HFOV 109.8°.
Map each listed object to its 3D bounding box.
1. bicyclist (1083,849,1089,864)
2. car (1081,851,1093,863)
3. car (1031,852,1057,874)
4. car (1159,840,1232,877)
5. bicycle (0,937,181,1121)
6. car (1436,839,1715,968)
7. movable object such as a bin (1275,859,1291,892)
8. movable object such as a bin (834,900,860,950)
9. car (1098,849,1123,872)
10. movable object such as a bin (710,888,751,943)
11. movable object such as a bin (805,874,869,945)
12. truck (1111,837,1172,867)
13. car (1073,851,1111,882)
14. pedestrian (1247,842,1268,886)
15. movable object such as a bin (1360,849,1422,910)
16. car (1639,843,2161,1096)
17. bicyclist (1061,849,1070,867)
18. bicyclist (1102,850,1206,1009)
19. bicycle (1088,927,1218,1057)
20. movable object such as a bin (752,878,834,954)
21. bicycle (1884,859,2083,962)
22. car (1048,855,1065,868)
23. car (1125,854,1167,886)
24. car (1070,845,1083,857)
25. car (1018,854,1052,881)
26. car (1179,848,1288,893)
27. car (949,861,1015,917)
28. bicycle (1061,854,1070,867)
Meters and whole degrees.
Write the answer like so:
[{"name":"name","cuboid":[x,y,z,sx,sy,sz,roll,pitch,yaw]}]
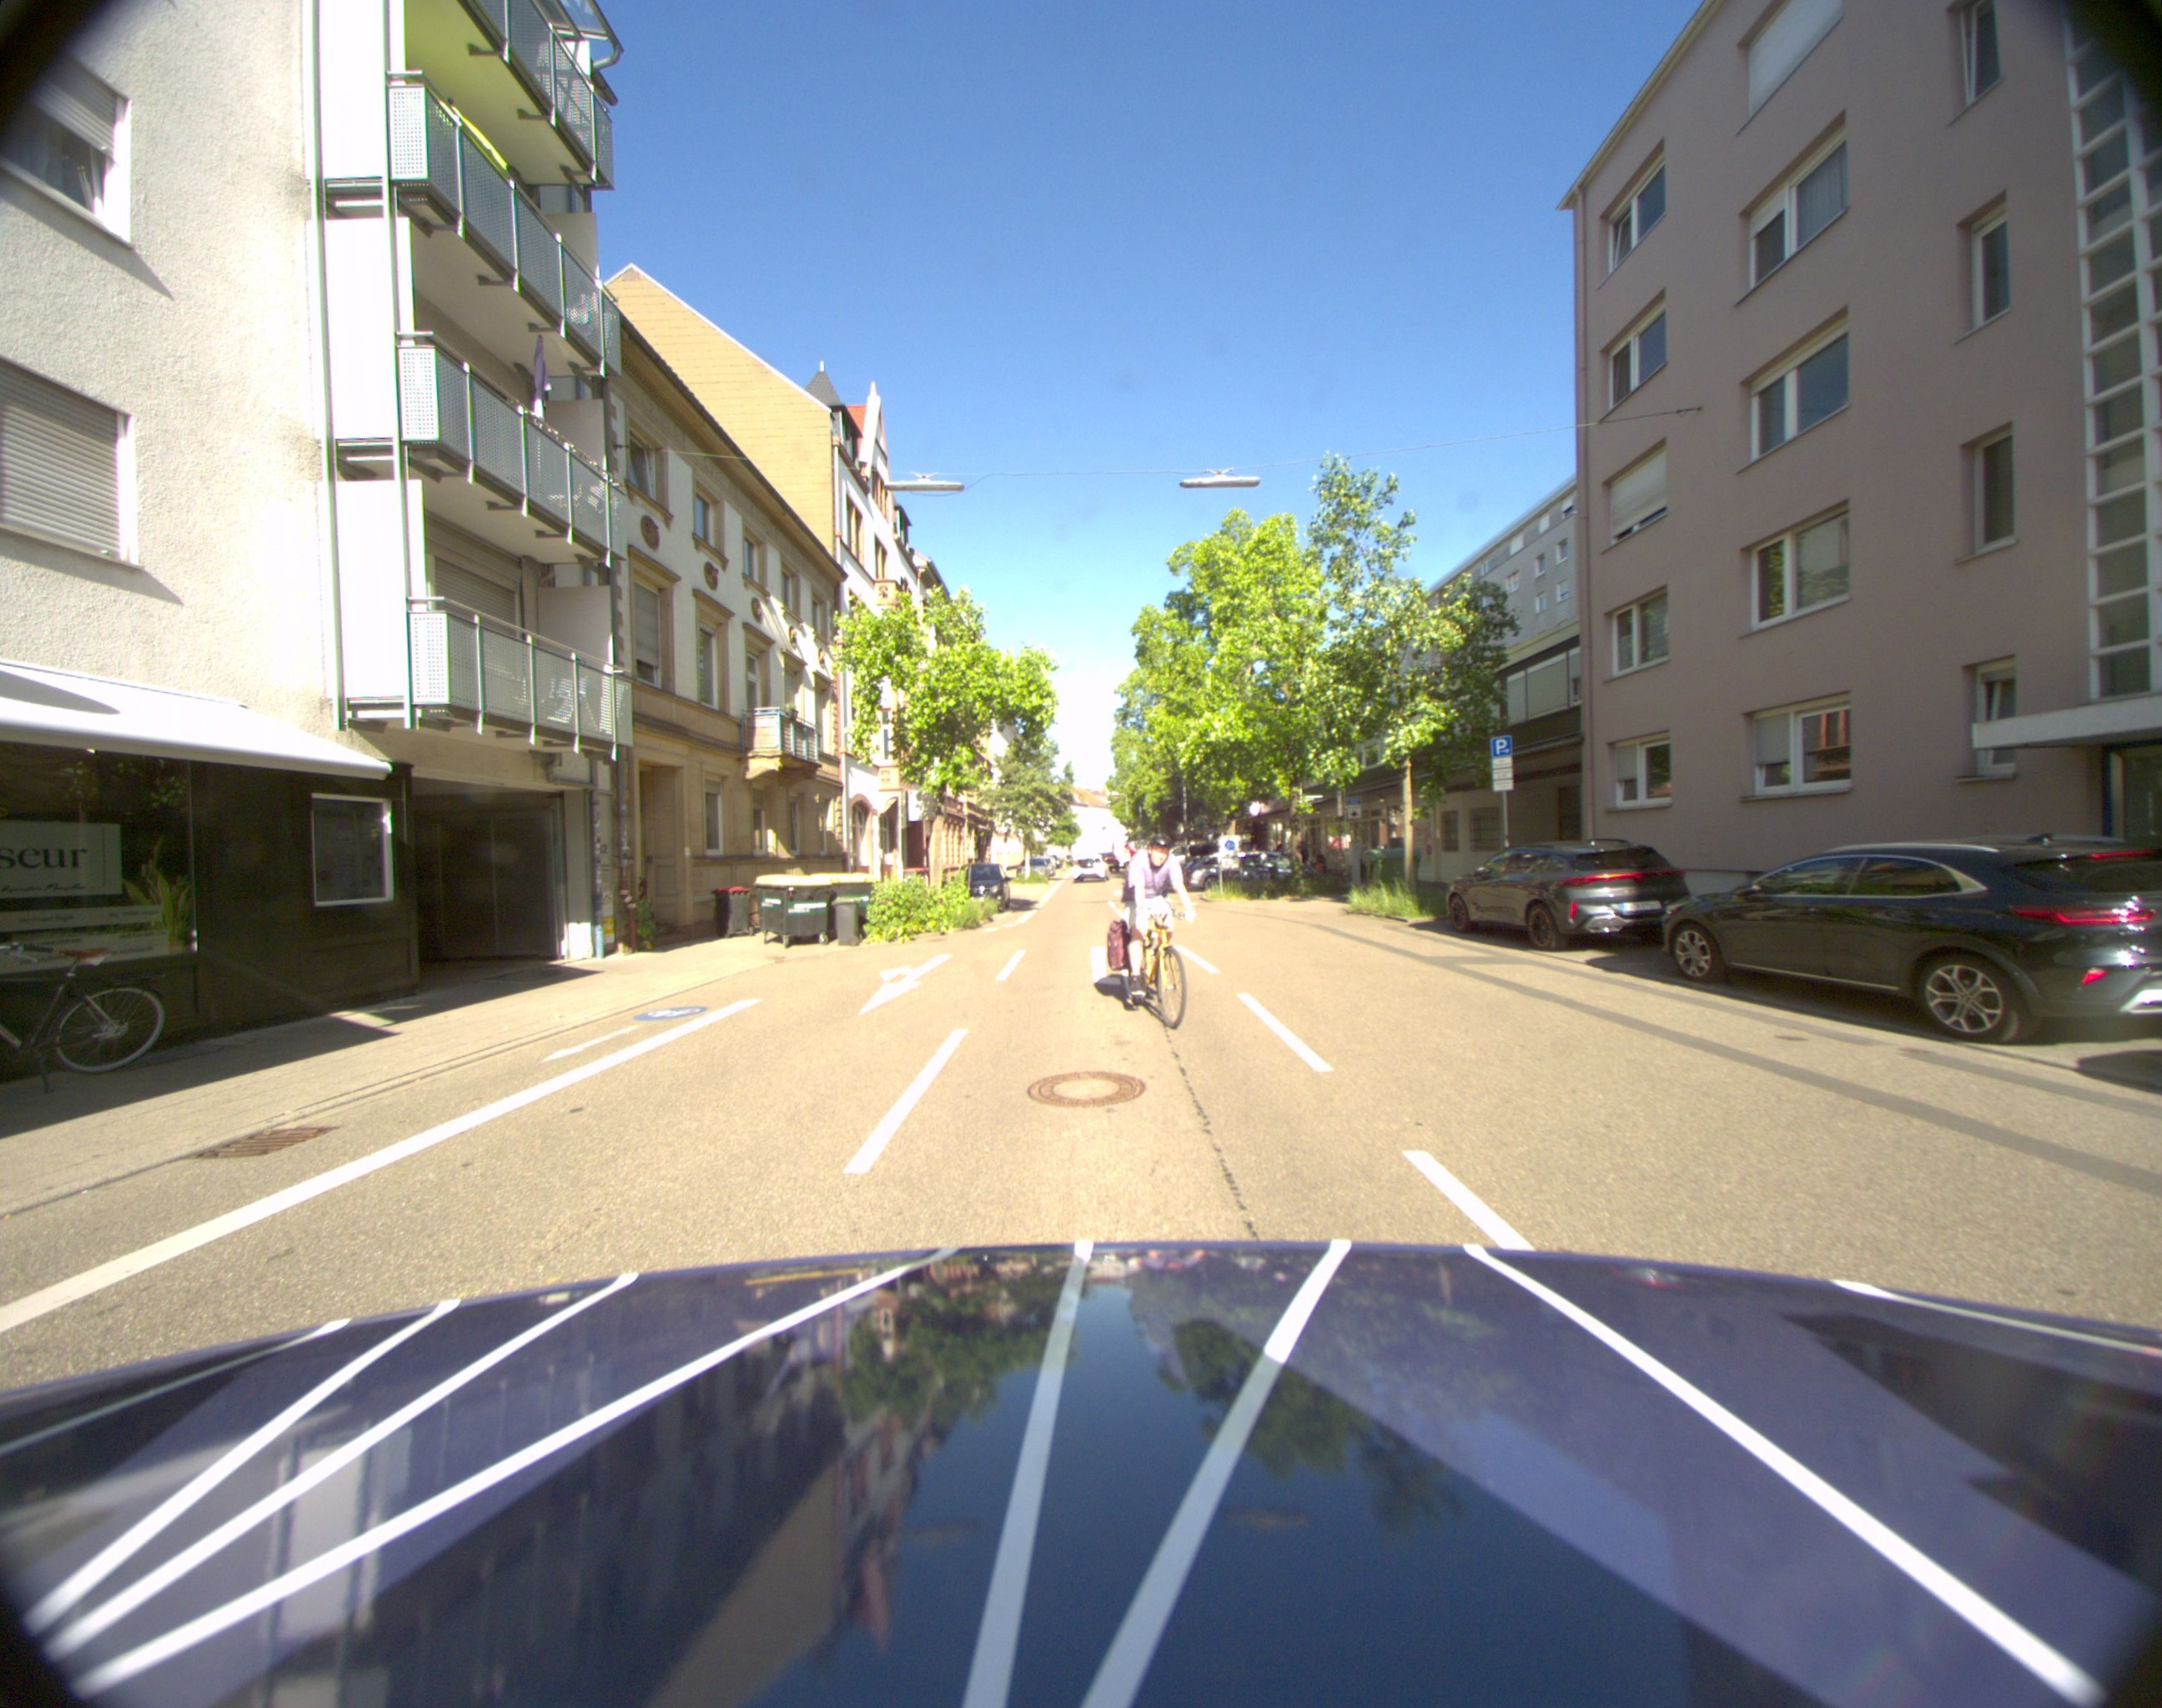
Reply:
[{"name":"bicyclist","cuboid":[0.632,0.307,97.996,0.578,1.911,0.613,-3,1,1]},{"name":"car","cuboid":[0.907,0.395,112.397,1.826,1.617,4.000,-2,0,1]},{"name":"car","cuboid":[-2.637,0.655,55.194,1.653,1.483,3.290,-2,0,0]},{"name":"car","cuboid":[6.702,0.271,44.768,3.997,2.020,2.000,-2,1,1]},{"name":"bicycle","cuboid":[-7.748,1.283,5.437,0.402,1.171,1.792,-2,0,1]},{"name":"car","cuboid":[7.588,0.654,12.249,1.821,1.583,4.141,-5,0,2]},{"name":"movable object such as a bin","cuboid":[7.617,0.791,28.667,0.488,1.218,0.409,-2,1,1]},{"name":"movable object such as a bin","cuboid":[-4.581,1.386,14.880,0.401,0.916,0.484,0,2,-7]},{"name":"car","cuboid":[2.435,0.529,63.770,1.994,1.599,4.259,-3,3,1]},{"name":"movable object such as a bin","cuboid":[-7.322,1.273,15.884,0.615,1.075,0.568,2,3,42]},{"name":"movable object such as a bin","cuboid":[-5.088,1.125,15.845,0.960,1.341,1.066,-1,2,-38]},{"name":"truck","cuboid":[5.684,-0.186,71.675,5.322,2.581,1.998,-2,1,-9]},{"name":"car","cuboid":[0.667,0.671,42.920,1.769,1.528,3.787,-3,0,6]},{"name":"pedestrian","cuboid":[8.170,0.463,35.257,0.567,2.002,0.752,-2,1,-25]},{"name":"movable object such as a bin","cuboid":[8.132,0.644,19.985,1.247,1.536,1.019,-1,1,5]},{"name":"car","cuboid":[7.514,0.716,6.897,1.821,1.499,4.245,-4,0,2]},{"name":"bicyclist","cuboid":[-1.448,0.378,70.588,0.748,1.588,0.613,-3,1,1]},{"name":"bicyclist","cuboid":[0.646,0.649,7.017,0.610,1.338,1.017,-1,0,-14]},{"name":"bicycle","cuboid":[0.602,1.204,7.057,0.612,0.876,1.812,-1,-1,-14]},{"name":"movable object such as a bin","cuboid":[-5.591,1.162,14.768,1.212,1.318,1.052,2,3,42]},{"name":"bicycle","cuboid":[10.758,0.626,9.146,0.391,1.070,1.650,-6,1,2]},{"name":"car","cuboid":[-2.736,0.846,85.957,1.653,1.447,3.290,-2,0,1]},{"name":"car","cuboid":[3.154,0.743,37.569,1.867,1.455,4.000,-2,0,3]},{"name":"car","cuboid":[-0.701,-0.536,126.526,1.998,2.002,4.000,-2,0,1]},{"name":"car","cuboid":[-2.749,0.768,45.879,1.759,1.492,3.949,-2,0,0]},{"name":"car","cuboid":[6.085,0.642,30.660,3.997,1.665,2.000,-2,1,1]},{"name":"car","cuboid":[-2.972,1.015,23.356,1.551,1.483,3.351,-2,0,0]},{"name":"bicycle","cuboid":[-1.441,0.598,70.595,0.778,1.139,2.259,-3,1,1]}]
